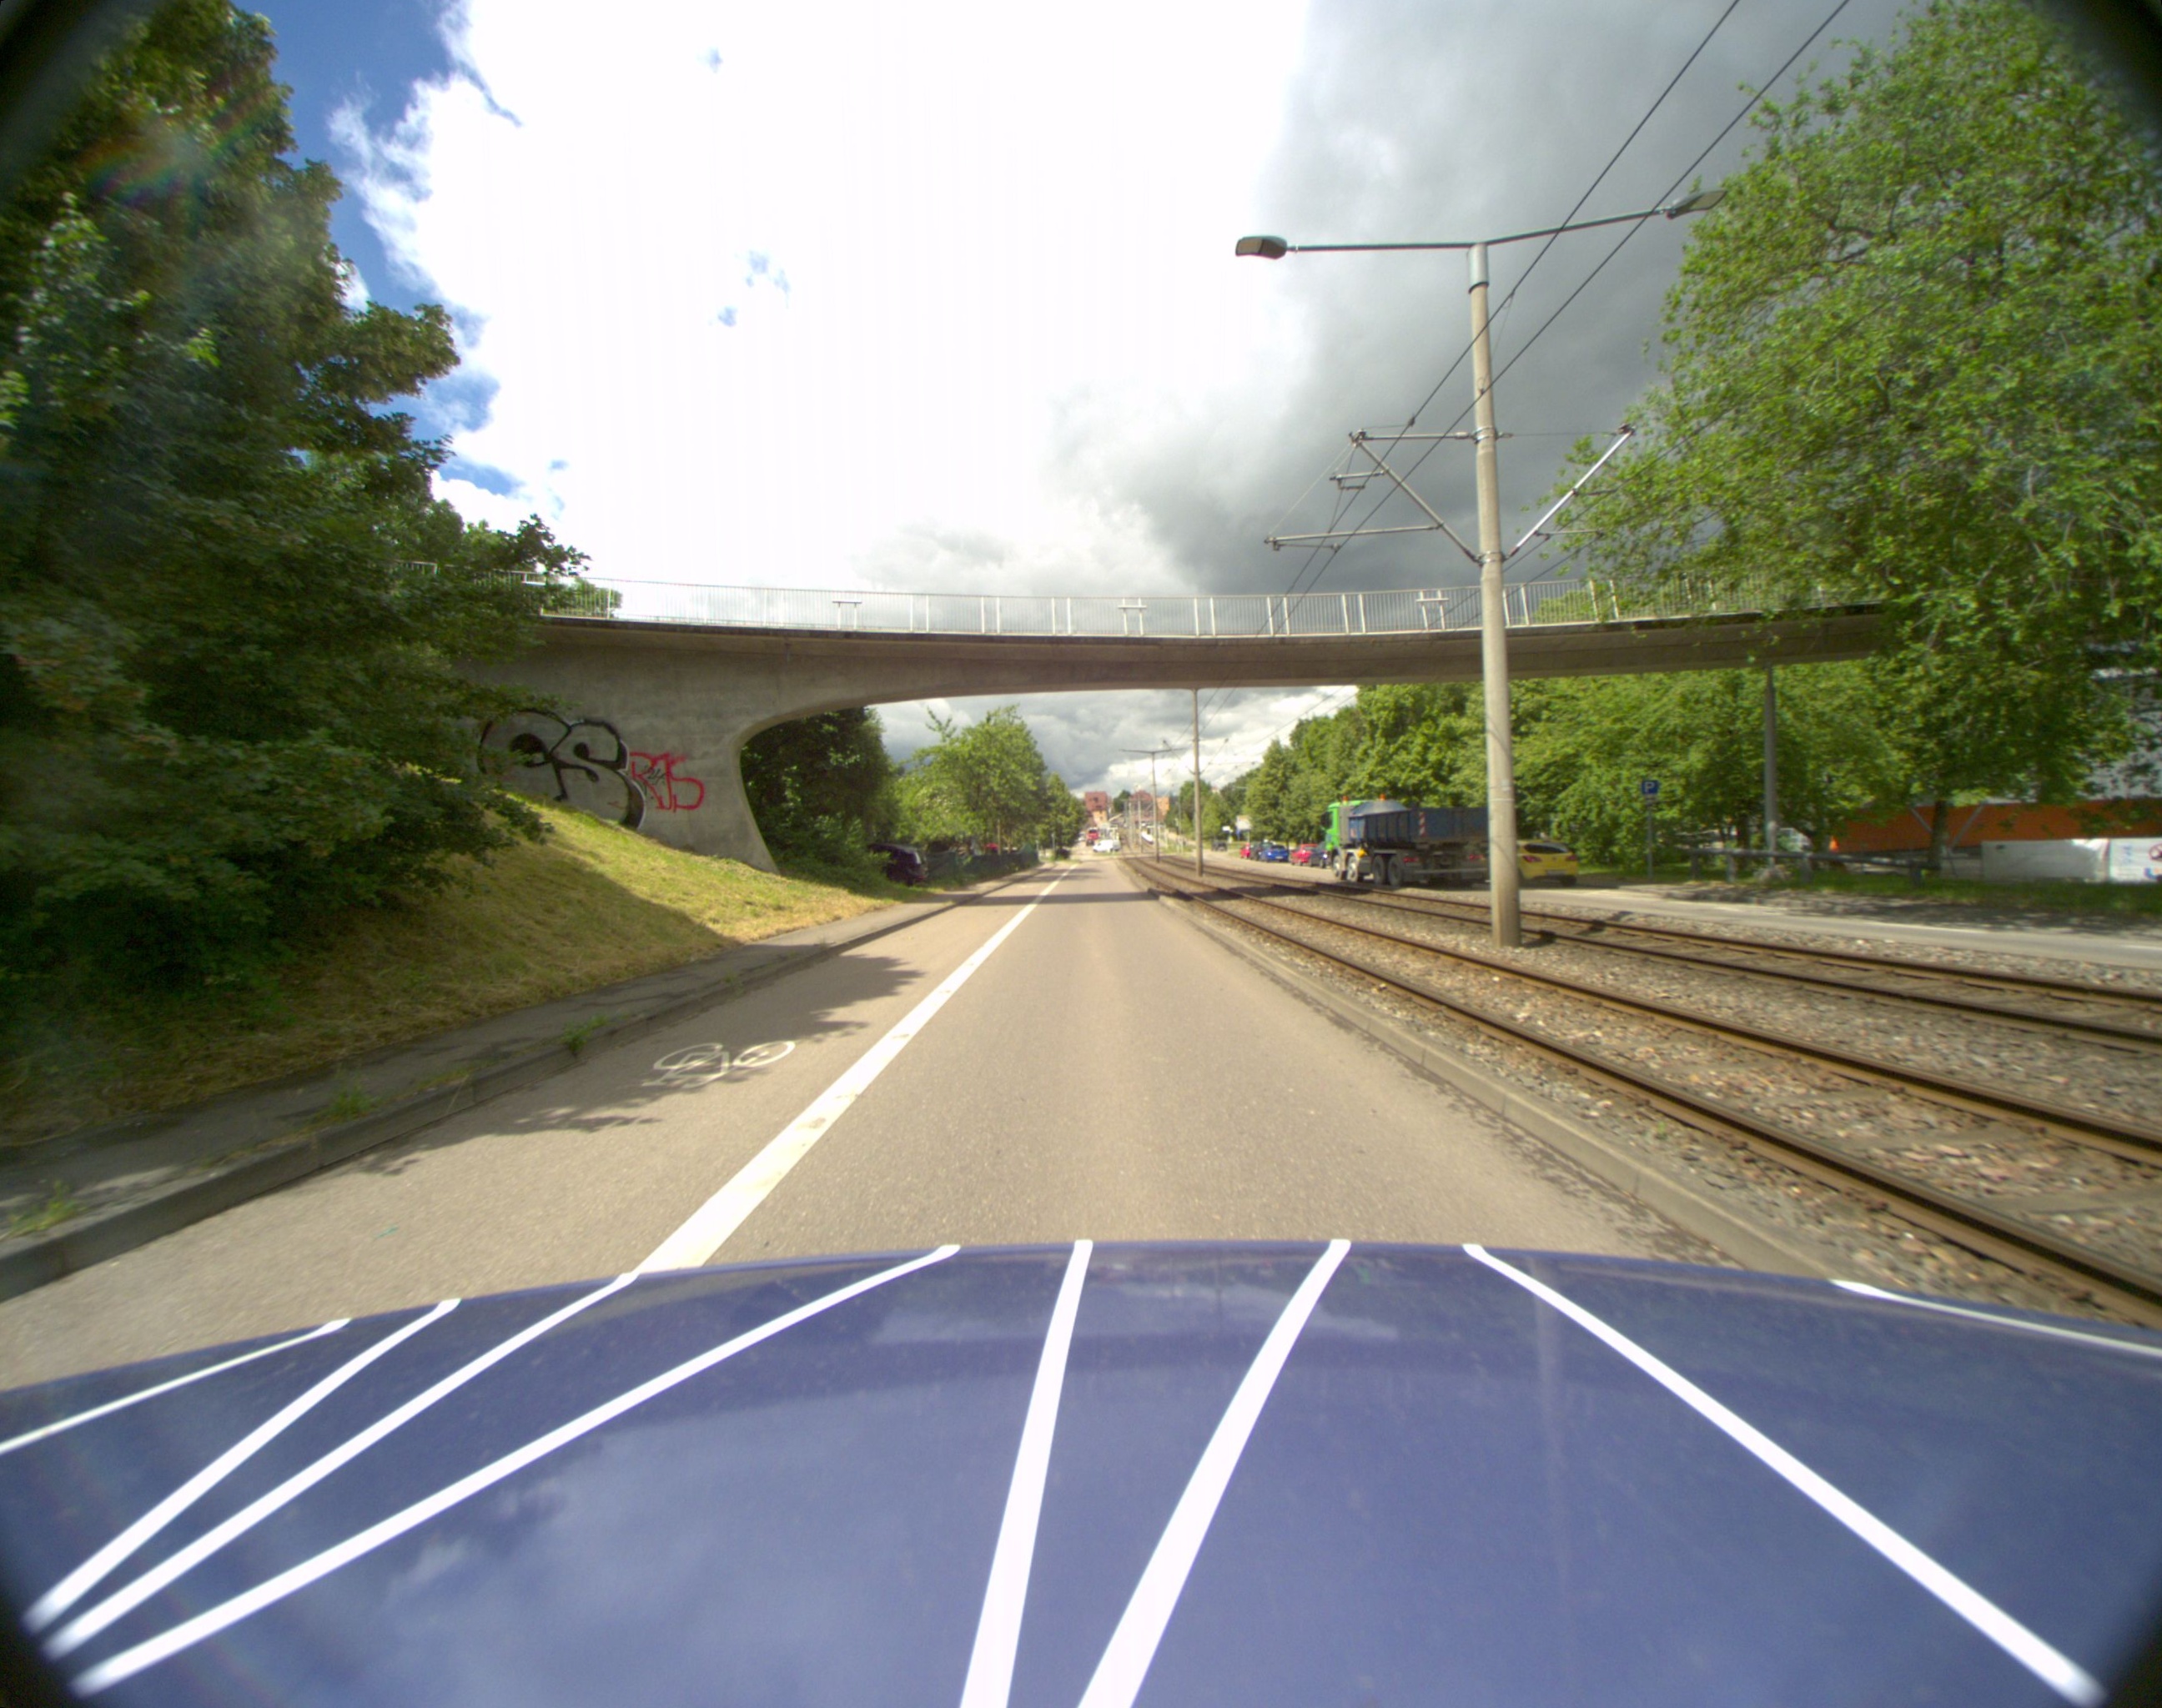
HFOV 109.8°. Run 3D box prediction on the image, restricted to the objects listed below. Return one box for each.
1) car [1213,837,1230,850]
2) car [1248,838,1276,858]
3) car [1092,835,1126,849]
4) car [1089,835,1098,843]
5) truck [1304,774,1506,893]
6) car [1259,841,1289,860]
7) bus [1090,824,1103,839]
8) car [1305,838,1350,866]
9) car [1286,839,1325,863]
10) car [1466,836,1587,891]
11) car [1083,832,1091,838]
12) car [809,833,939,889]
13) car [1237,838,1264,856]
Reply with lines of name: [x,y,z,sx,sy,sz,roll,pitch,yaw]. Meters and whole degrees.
car: [19.412,-1.465,105.241,1.617,1.565,3.999,-4,2,2]
car: [15.782,-0.534,66.293,1.584,1.596,4.375,-1,1,3]
car: [4.480,-1.934,123.023,5.220,2.008,1.884,-2,3,37]
car: [2.674,-3.256,166.191,1.858,1.576,4.324,-2,2,0]
truck: [10.940,-0.733,27.011,2.879,3.301,9.026,-4,2,-2]
car: [15.444,-0.317,60.951,1.616,1.453,4.008,0,1,4]
bus: [4.424,-6.404,216.010,2.923,3.865,10.378,-2,2,4]
car: [14.882,-0.145,45.995,1.561,1.587,4.160,-1,1,3]
car: [15.020,-0.230,51.024,1.616,1.485,4.048,-2,0,4]
car: [14.184,0.229,24.457,1.693,1.442,3.897,-4,3,3]
car: [1.589,-5.047,200.813,1.939,1.374,4.660,-4,2,5]
car: [-8.294,0.244,30.747,4.535,1.662,1.999,6,3,2]
car: [16.031,-0.685,71.981,1.617,1.444,3.659,-4,3,-1]
